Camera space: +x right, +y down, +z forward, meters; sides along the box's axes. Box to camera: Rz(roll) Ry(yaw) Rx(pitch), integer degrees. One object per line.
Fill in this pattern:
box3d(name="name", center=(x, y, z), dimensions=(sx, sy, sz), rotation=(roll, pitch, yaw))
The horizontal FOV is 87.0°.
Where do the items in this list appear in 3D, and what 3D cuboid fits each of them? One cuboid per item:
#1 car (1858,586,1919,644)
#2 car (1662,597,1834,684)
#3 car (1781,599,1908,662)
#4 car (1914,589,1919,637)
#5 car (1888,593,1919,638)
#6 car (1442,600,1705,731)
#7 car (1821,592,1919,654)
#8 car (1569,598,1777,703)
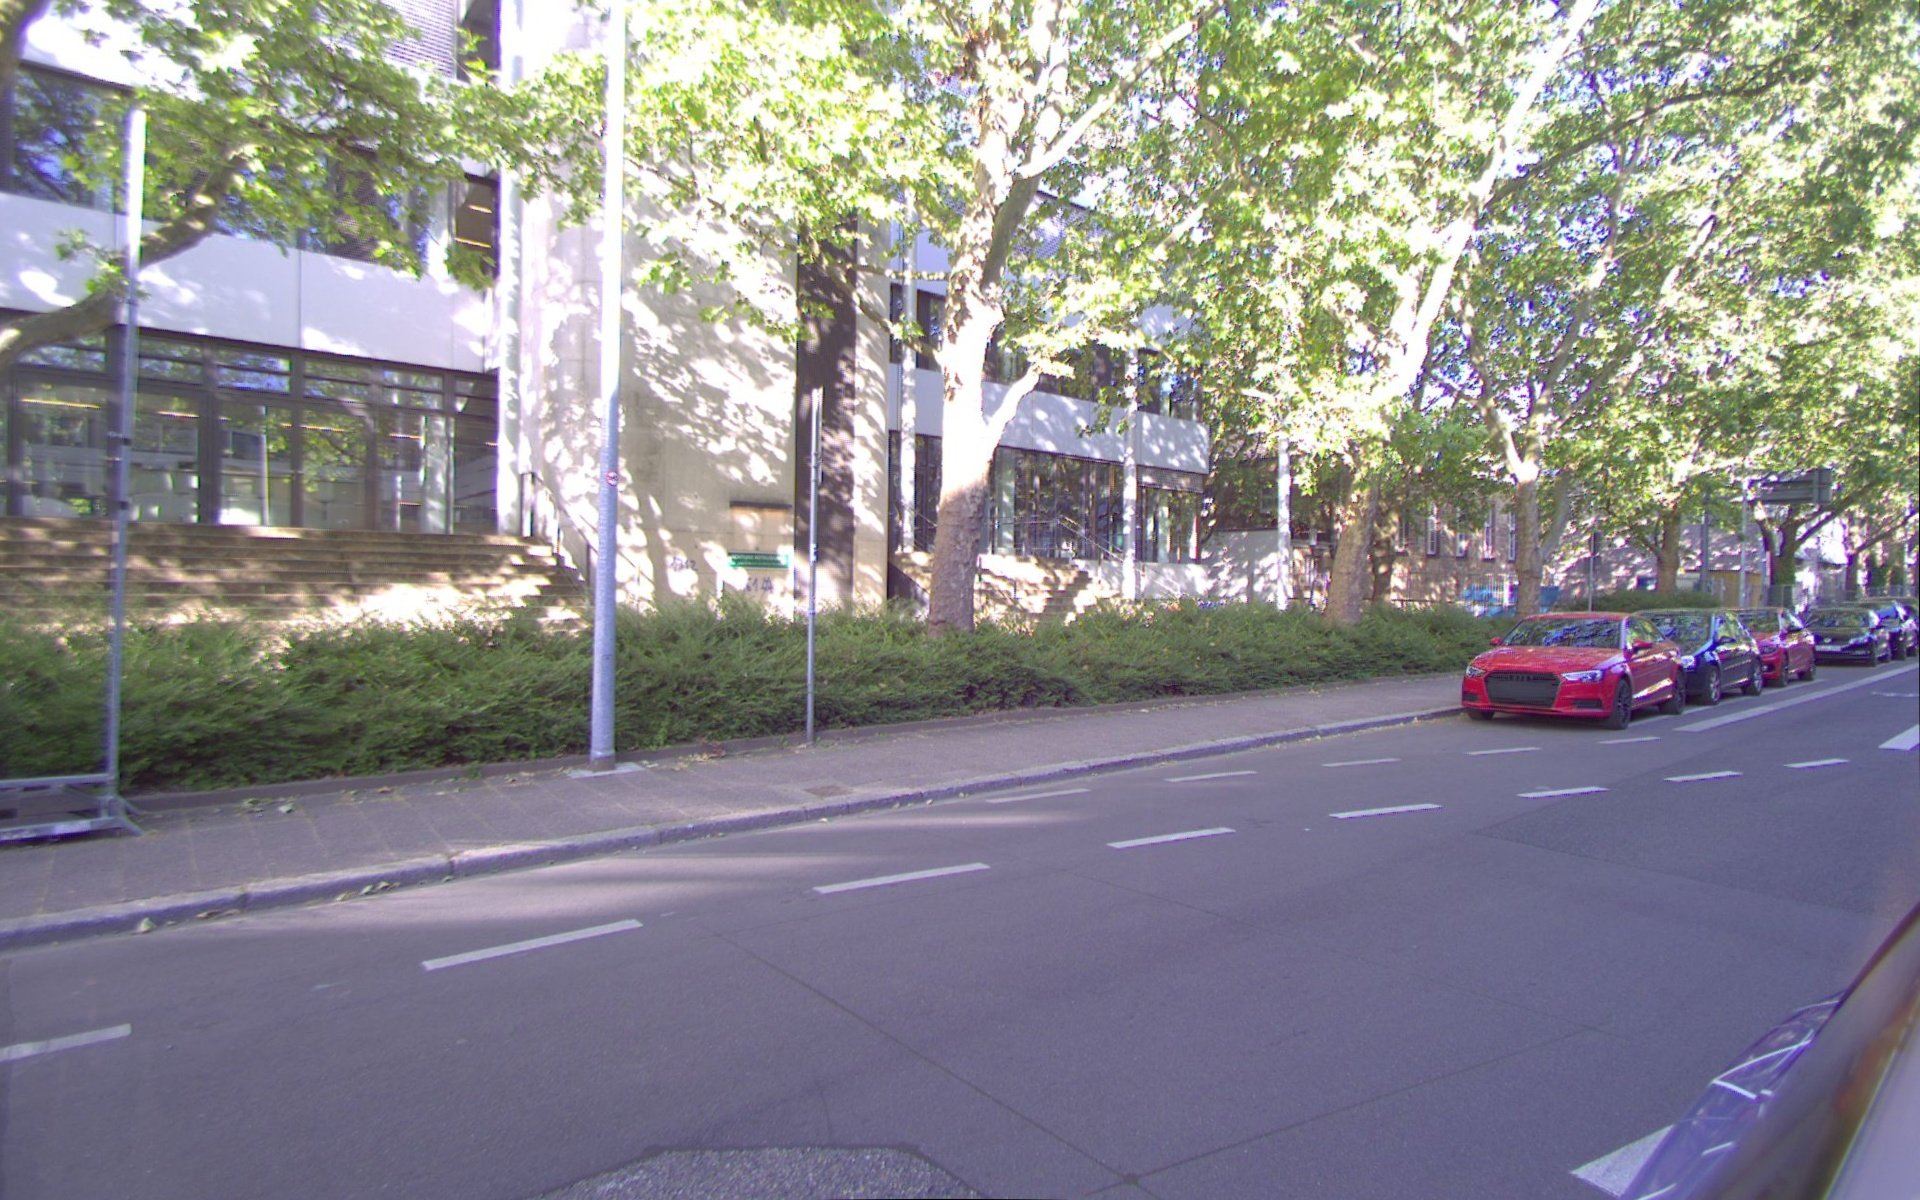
box3d(name="car", center=(31.274, 0.445, 33.308), dimensions=(4.493, 1.809, 1.997), rotation=(-1, 0, -41))
box3d(name="car", center=(15.657, 0.714, 20.050), dimensions=(3.762, 1.517, 1.997), rotation=(-1, 0, -41))
box3d(name="car", center=(22.810, 0.719, 26.058), dimensions=(3.527, 1.474, 1.997), rotation=(-1, 0, -41))
box3d(name="car", center=(39.631, 0.480, 40.298), dimensions=(3.930, 1.872, 1.997), rotation=(-1, 0, -41))
box3d(name="car", center=(35.990, 0.557, 37.447), dimensions=(4.070, 1.585, 1.997), rotation=(-1, 0, -41))
box3d(name="car", center=(8.267, 0.748, 13.521), dimensions=(3.930, 1.443, 1.906), rotation=(-1, 0, -41))
box3d(name="car", center=(26.535, 0.604, 29.179), dimensions=(4.070, 1.621, 1.997), rotation=(-1, 0, -41))
box3d(name="car", center=(11.747, 0.726, 16.612), dimensions=(3.581, 1.478, 1.997), rotation=(-1, 0, -41))
